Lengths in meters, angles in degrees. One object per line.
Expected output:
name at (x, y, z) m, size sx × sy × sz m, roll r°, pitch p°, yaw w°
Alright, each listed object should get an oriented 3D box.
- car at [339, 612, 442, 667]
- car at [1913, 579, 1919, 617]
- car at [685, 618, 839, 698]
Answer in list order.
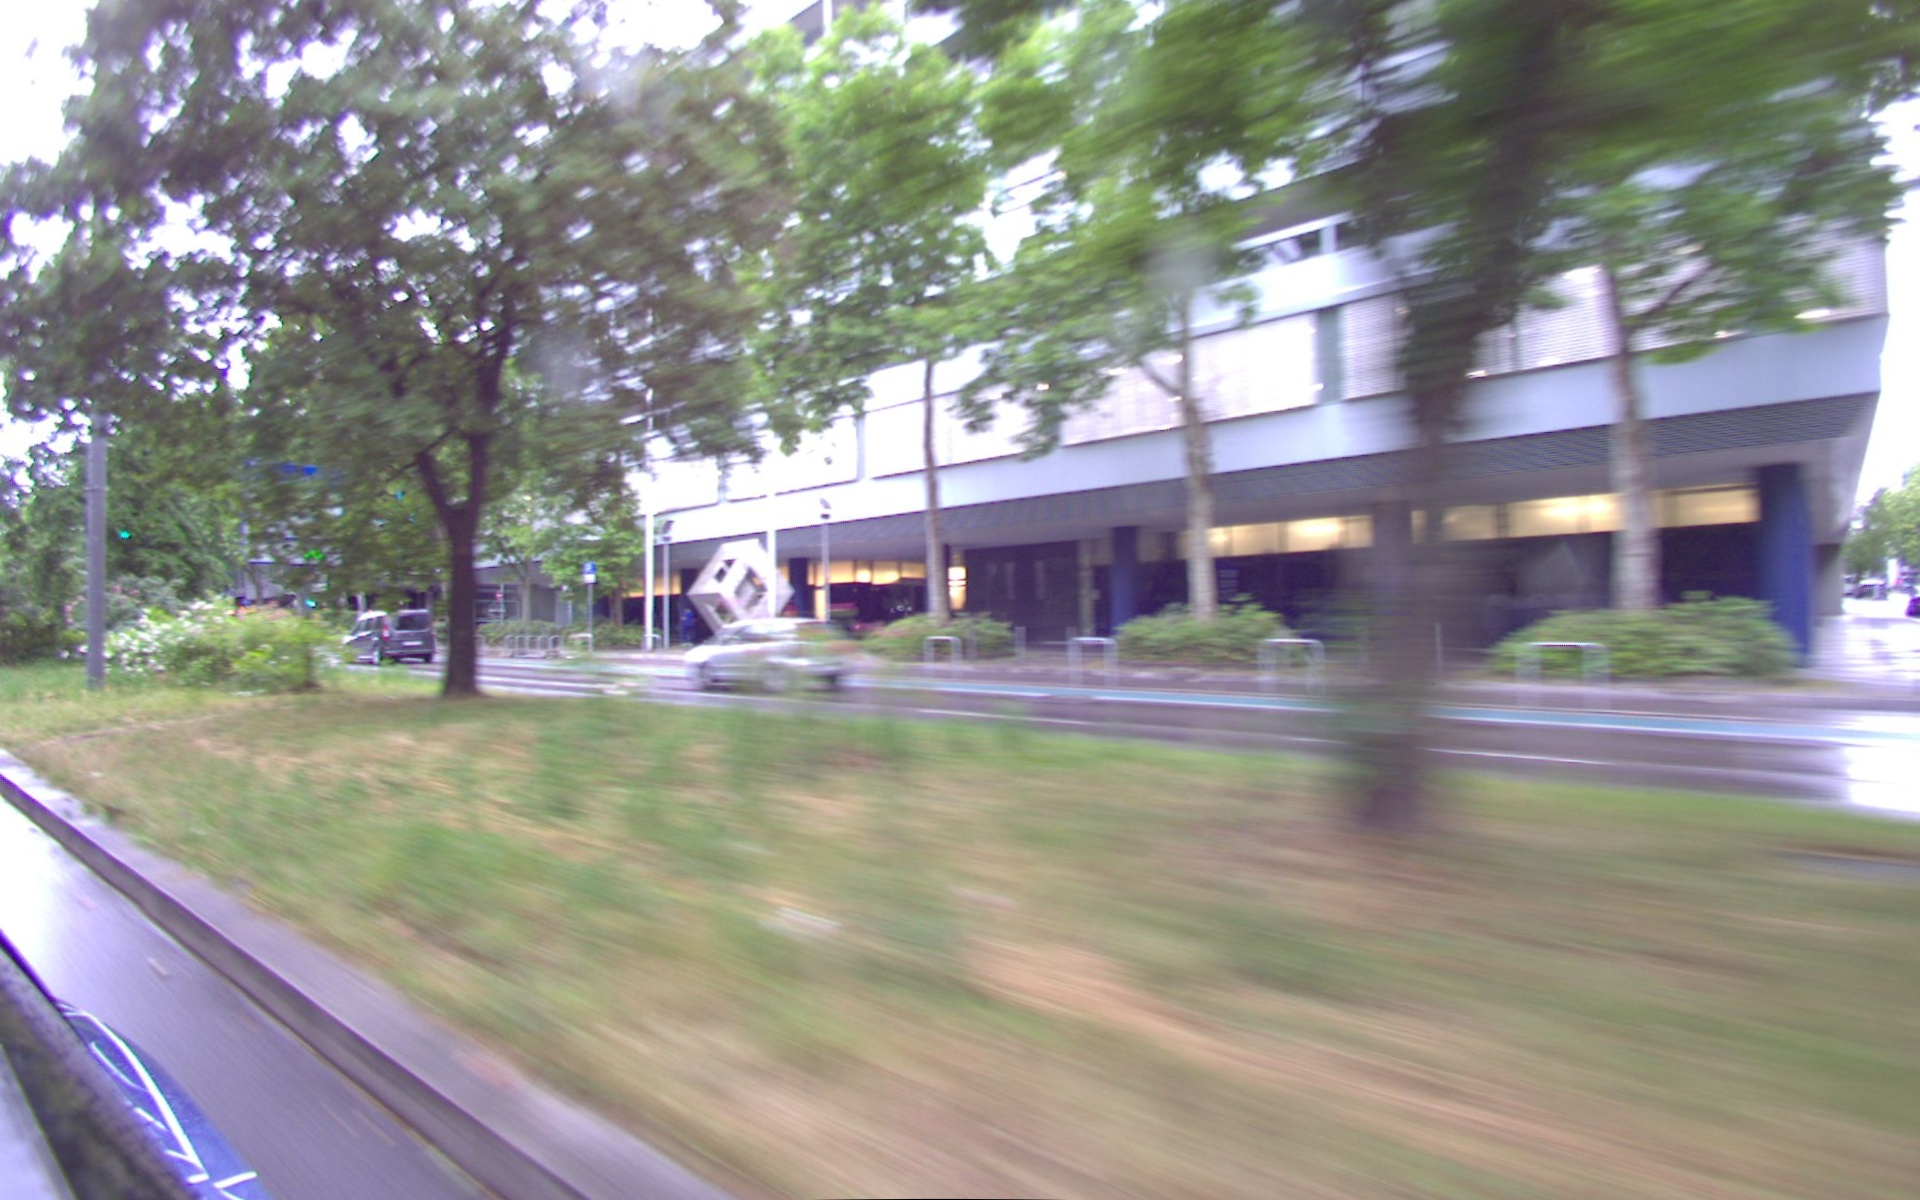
car at (-19.892, 1.360, 35.300) m, size 4.282 × 1.815 × 1.971 m, roll -2°, pitch -2°, yaw 44°
car at (44.101, -0.112, 45.009) m, size 1.997 × 1.696 × 3.950 m, roll -2°, pitch -1°, yaw 37°
car at (-4.025, 1.125, 20.273) m, size 3.560 × 1.473 × 1.148 m, roll -2°, pitch -2°, yaw 43°
